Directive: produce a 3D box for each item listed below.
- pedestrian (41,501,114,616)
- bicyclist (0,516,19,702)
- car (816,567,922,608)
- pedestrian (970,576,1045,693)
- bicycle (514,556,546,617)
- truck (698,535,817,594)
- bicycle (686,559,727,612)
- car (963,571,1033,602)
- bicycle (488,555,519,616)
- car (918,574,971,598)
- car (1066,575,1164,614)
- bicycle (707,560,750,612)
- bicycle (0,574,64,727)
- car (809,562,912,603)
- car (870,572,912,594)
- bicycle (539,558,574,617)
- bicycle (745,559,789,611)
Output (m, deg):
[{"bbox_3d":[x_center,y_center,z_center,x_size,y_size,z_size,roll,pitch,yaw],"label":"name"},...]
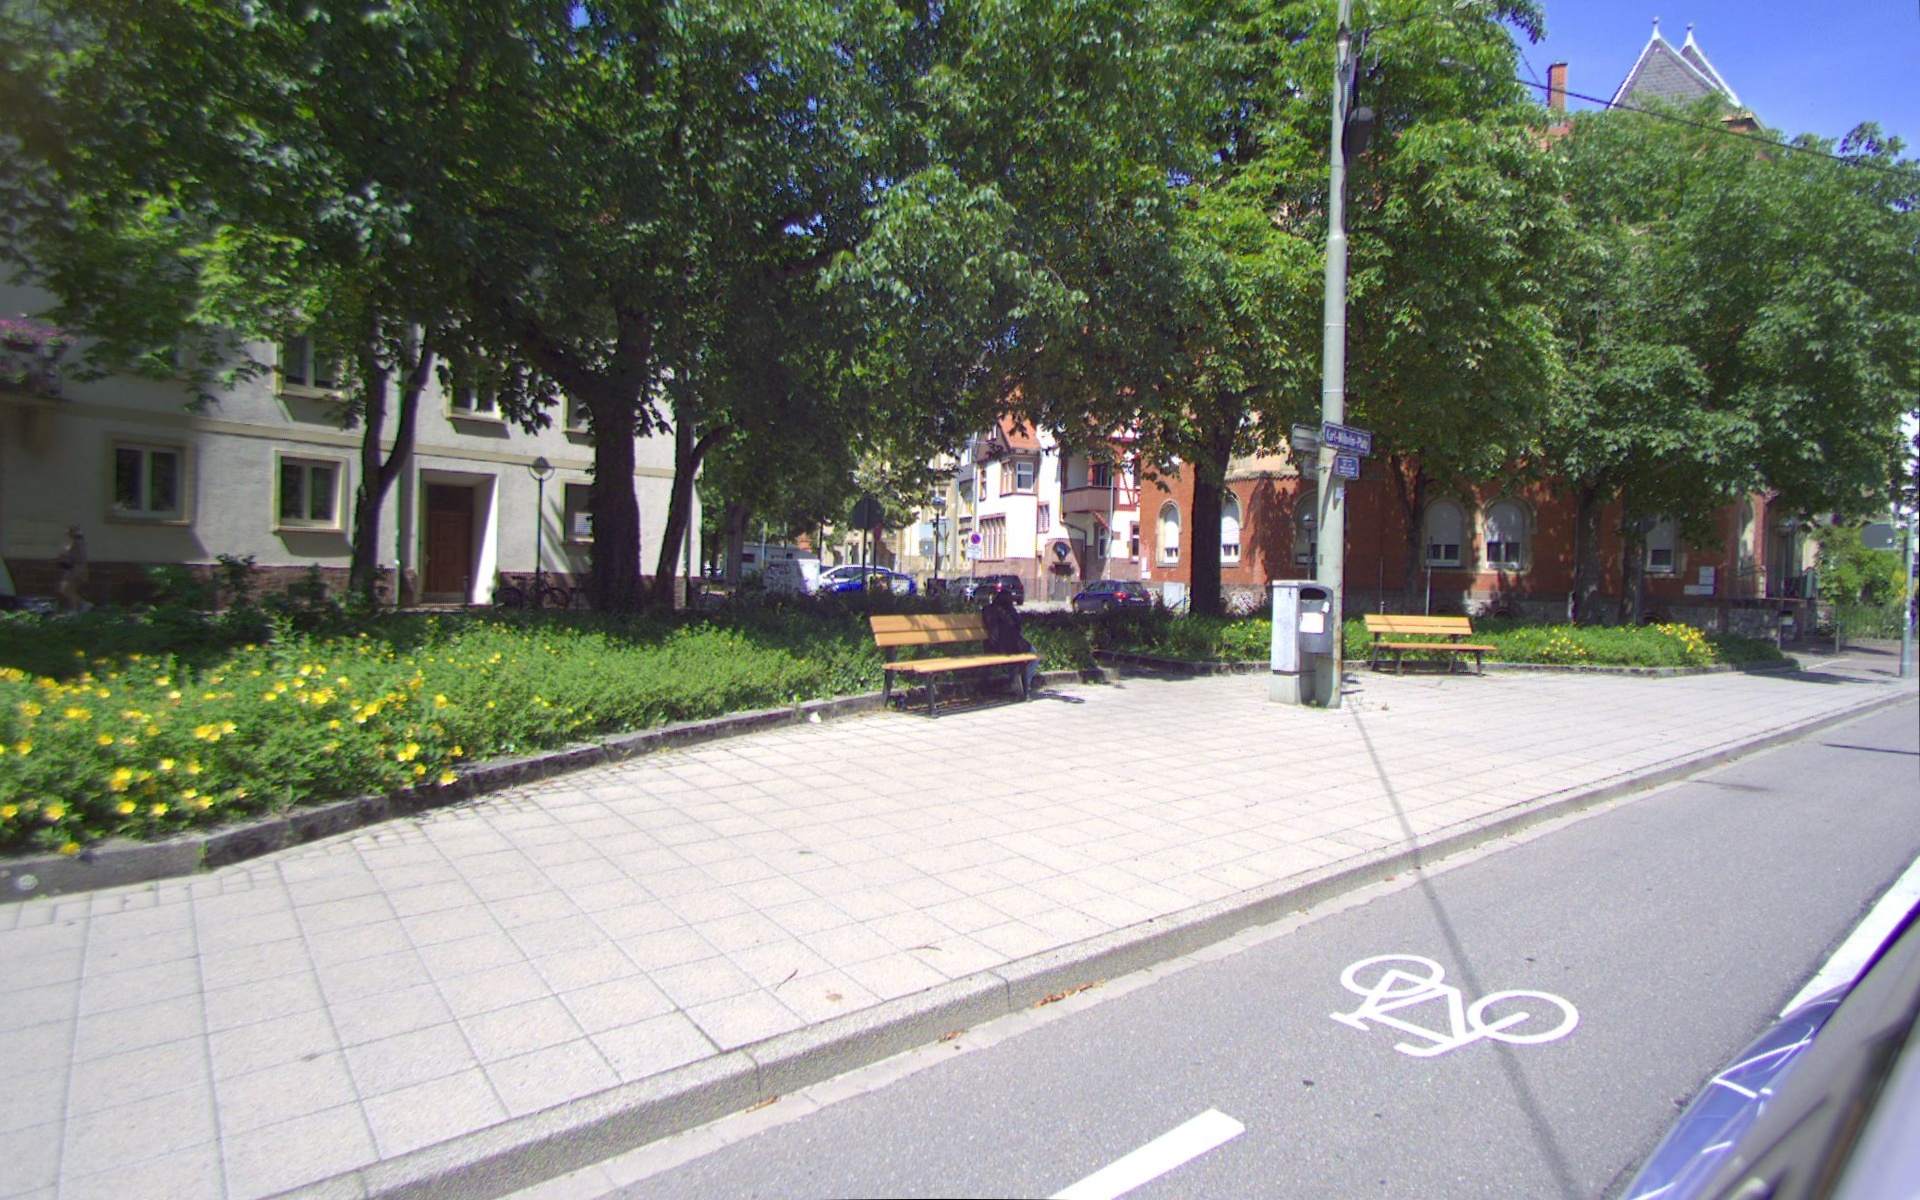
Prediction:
[{"bbox_3d":[-16.077,-0.748,18.440,0.799,2.039,0.766,1,1,26],"label":"pedestrian"},{"bbox_3d":[-9.736,0.087,9.902,0.594,1.822,0.532,1,1,11],"label":"bicyclist"},{"bbox_3d":[-3.598,-0.504,40.048,3.807,1.447,1.731,2,0,-21],"label":"car"},{"bbox_3d":[0.470,0.334,10.039,0.469,1.105,0.511,2,2,-34],"label":"pedestrian"},{"bbox_3d":[-10.210,-0.331,23.987,0.505,1.364,2.247,0,1,-28],"label":"bicycle"},{"bbox_3d":[-12.091,-2.066,60.571,6.685,3.193,1.939,2,0,-19],"label":"truck"},{"bbox_3d":[-6.634,-0.383,26.417,0.536,1.316,2.162,0,1,-28],"label":"bicycle"},{"bbox_3d":[1.954,-0.750,54.547,1.946,1.551,5.503,0,1,-19],"label":"car"},{"bbox_3d":[-10.733,-0.356,23.750,0.505,1.361,2.332,0,1,-28],"label":"bicycle"},{"bbox_3d":[-1.037,-0.896,63.763,1.865,1.482,4.626,0,1,-21],"label":"car"},{"bbox_3d":[6.213,-0.255,41.192,1.865,1.459,4.769,0,1,-21],"label":"car"},{"bbox_3d":[-6.118,-0.383,26.678,0.536,1.316,2.162,0,1,-28],"label":"bicycle"},{"bbox_3d":[-9.782,0.505,9.524,0.583,1.504,2.163,1,1,9],"label":"bicycle"},{"bbox_3d":[-4.428,-0.769,45.035,4.176,1.673,1.731,2,0,-21],"label":"car"},{"bbox_3d":[-5.122,-1.290,74.460,1.865,1.575,4.411,0,1,-21],"label":"car"},{"bbox_3d":[-9.584,-0.310,23.997,0.536,1.316,2.162,0,1,-28],"label":"bicycle"},{"bbox_3d":[-5.185,-0.413,27.059,0.536,1.316,2.162,0,1,-28],"label":"bicycle"}]
